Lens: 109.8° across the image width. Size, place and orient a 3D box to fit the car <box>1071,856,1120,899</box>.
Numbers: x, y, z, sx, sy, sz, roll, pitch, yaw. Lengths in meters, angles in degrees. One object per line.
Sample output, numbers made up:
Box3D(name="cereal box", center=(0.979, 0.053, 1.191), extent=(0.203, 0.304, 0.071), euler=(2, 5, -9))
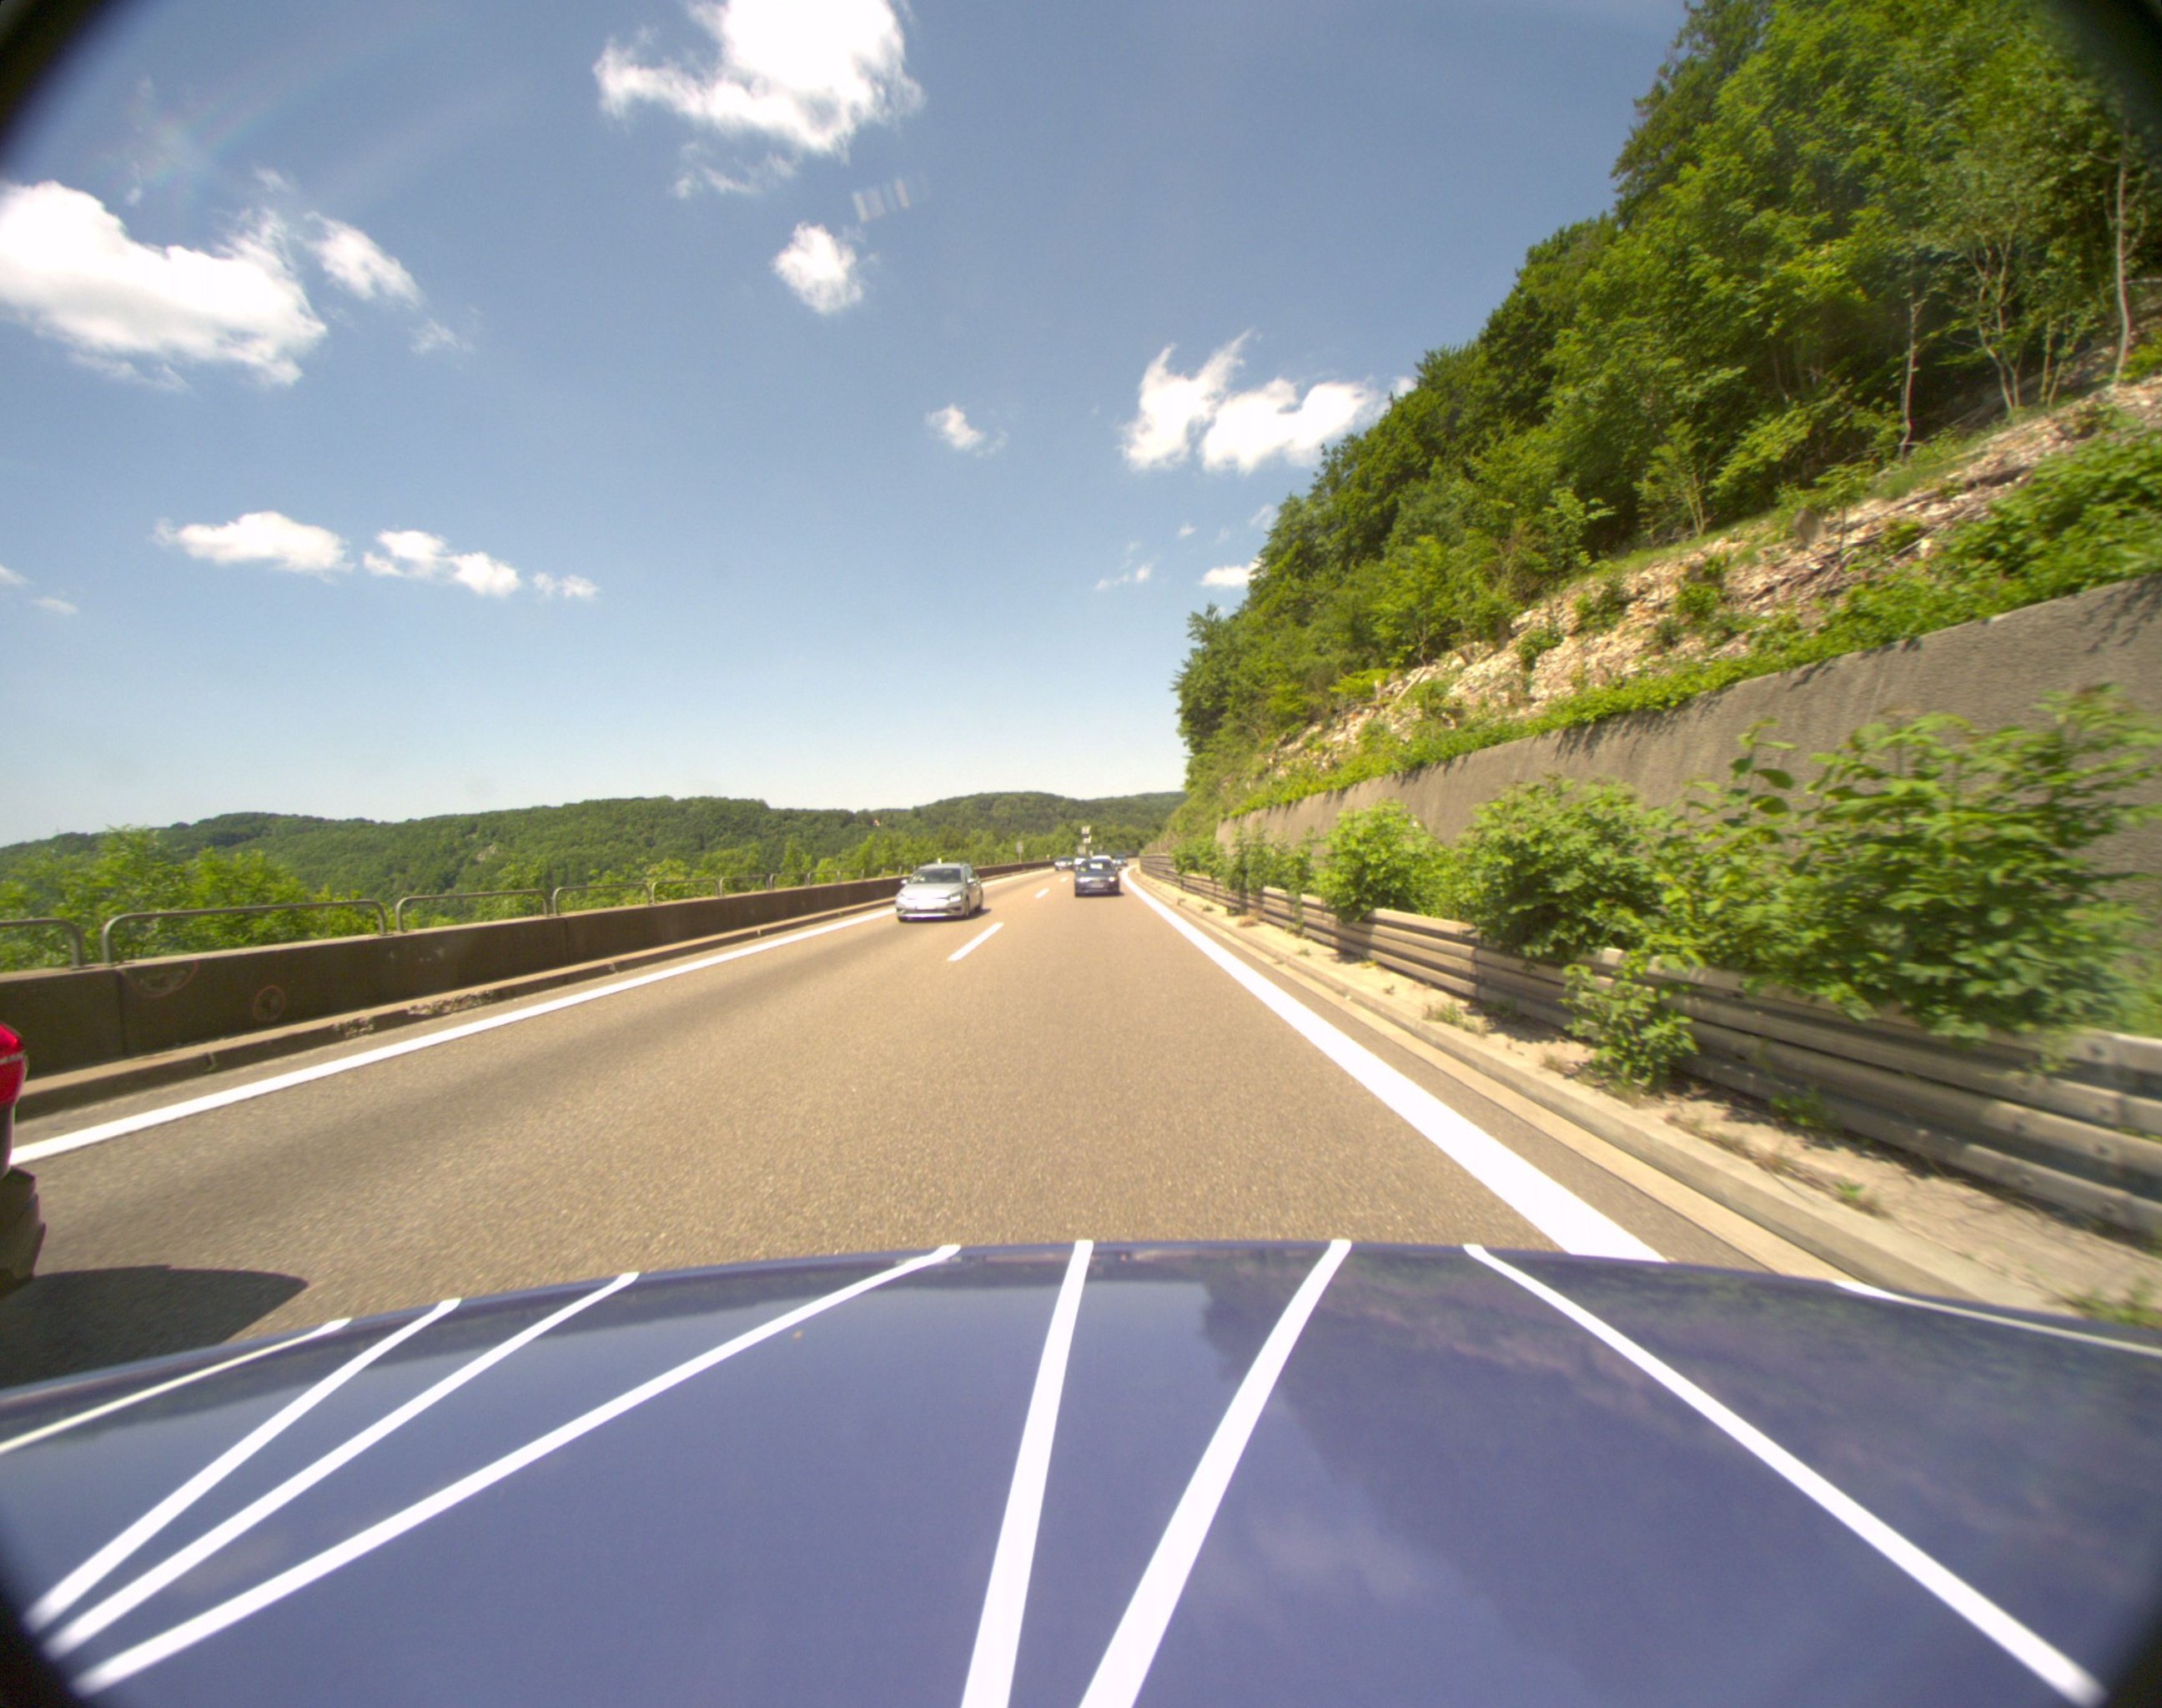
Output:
Box3D(name="car", center=(0.616, 0.837, 29.363), extent=(1.668, 1.415, 4.044), euler=(-2, 1, 3))

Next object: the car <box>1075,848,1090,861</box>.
Box3D(name="car", center=(0.158, 0.082, 99.902), extent=(1.776, 1.565, 3.999), euler=(-2, 0, -1))

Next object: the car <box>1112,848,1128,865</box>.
Box3D(name="car", center=(4.994, 0.308, 97.316), extent=(1.998, 2.002, 4.001), euler=(-1, 0, 4))

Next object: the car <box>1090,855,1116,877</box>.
Box3D(name="car", center=(1.590, 0.830, 53.470), extent=(1.703, 1.432, 4.044), euler=(0, 1, 3))

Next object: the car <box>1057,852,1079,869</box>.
Box3D(name="car", center=(-1.335, 0.656, 78.278), extent=(1.875, 1.565, 4.001), euler=(-2, 0, 4))

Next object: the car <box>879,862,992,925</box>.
Box3D(name="car", center=(-3.811, 0.990, 20.716), extent=(1.972, 1.370, 4.294), euler=(-2, 1, 3))

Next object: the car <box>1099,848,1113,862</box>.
Box3D(name="car", center=(3.783, 0.125, 115.299), extent=(1.998, 2.002, 4.000), euler=(0, 1, 2))
